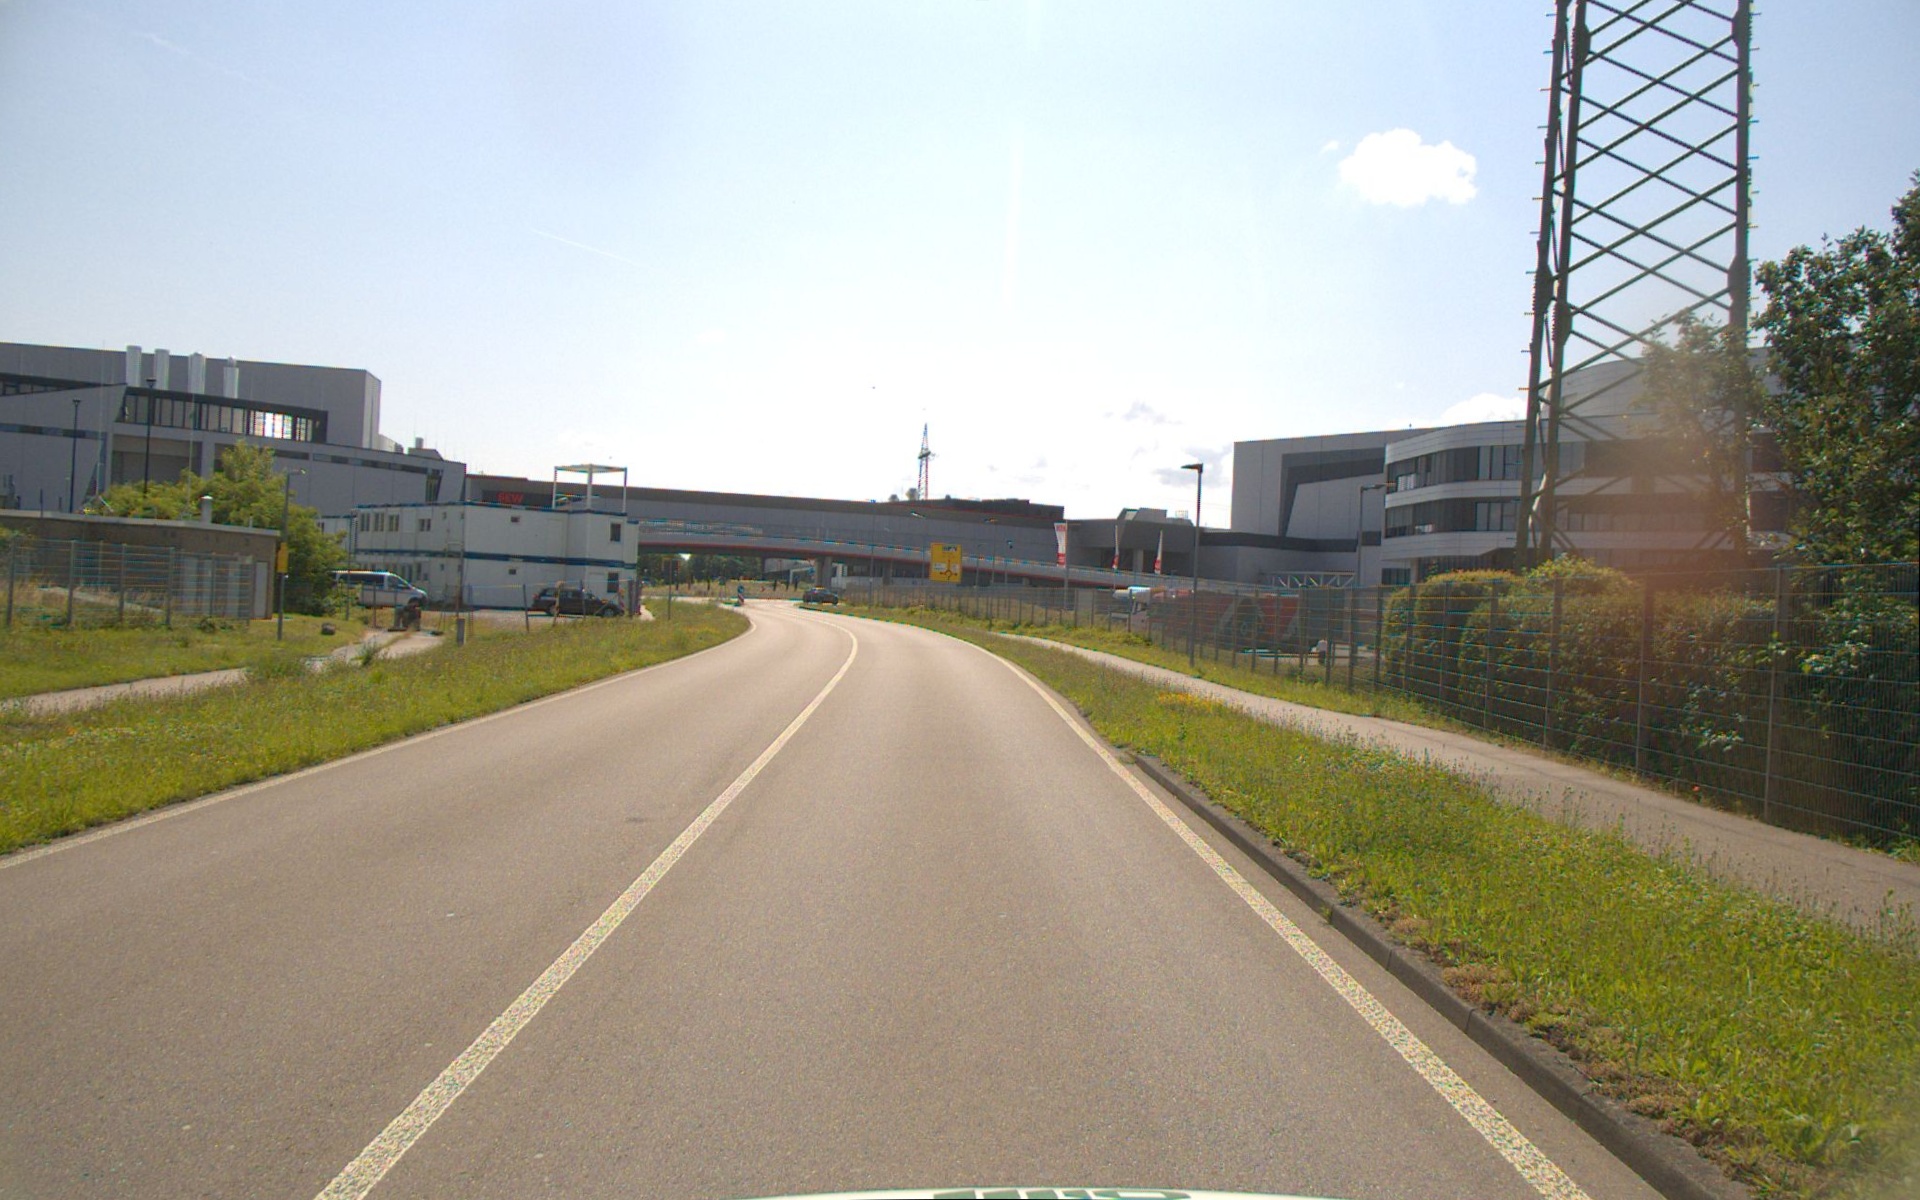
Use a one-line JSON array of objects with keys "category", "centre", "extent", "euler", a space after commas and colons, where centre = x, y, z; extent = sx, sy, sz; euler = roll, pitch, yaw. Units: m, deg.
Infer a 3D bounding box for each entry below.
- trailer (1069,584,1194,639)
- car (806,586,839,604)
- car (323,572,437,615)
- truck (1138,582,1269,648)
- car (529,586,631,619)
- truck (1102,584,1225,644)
[{"category": "trailer", "centre": [15.233, 1.093, 145.356], "extent": [2.721, 4.515, 13.959], "euler": [1, -1, 45]}, {"category": "car", "centre": [-12.566, -0.432, 151.037], "extent": [1.951, 1.571, 4.003], "euler": [1, 0, 11]}, {"category": "car", "centre": [-29.089, -0.321, 83.066], "extent": [4.975, 1.899, 1.971], "euler": [3, 0, -41]}, {"category": "truck", "centre": [16.850, 1.103, 113.713], "extent": [10.891, 4.331, 2.979], "euler": [2, -1, -45]}, {"category": "car", "centre": [-19.606, 0.138, 85.265], "extent": [4.897, 1.441, 1.988], "euler": [2, 0, -21]}, {"category": "truck", "centre": [15.212, 1.069, 122.701], "extent": [10.888, 4.245, 2.777], "euler": [2, -1, -44]}]
